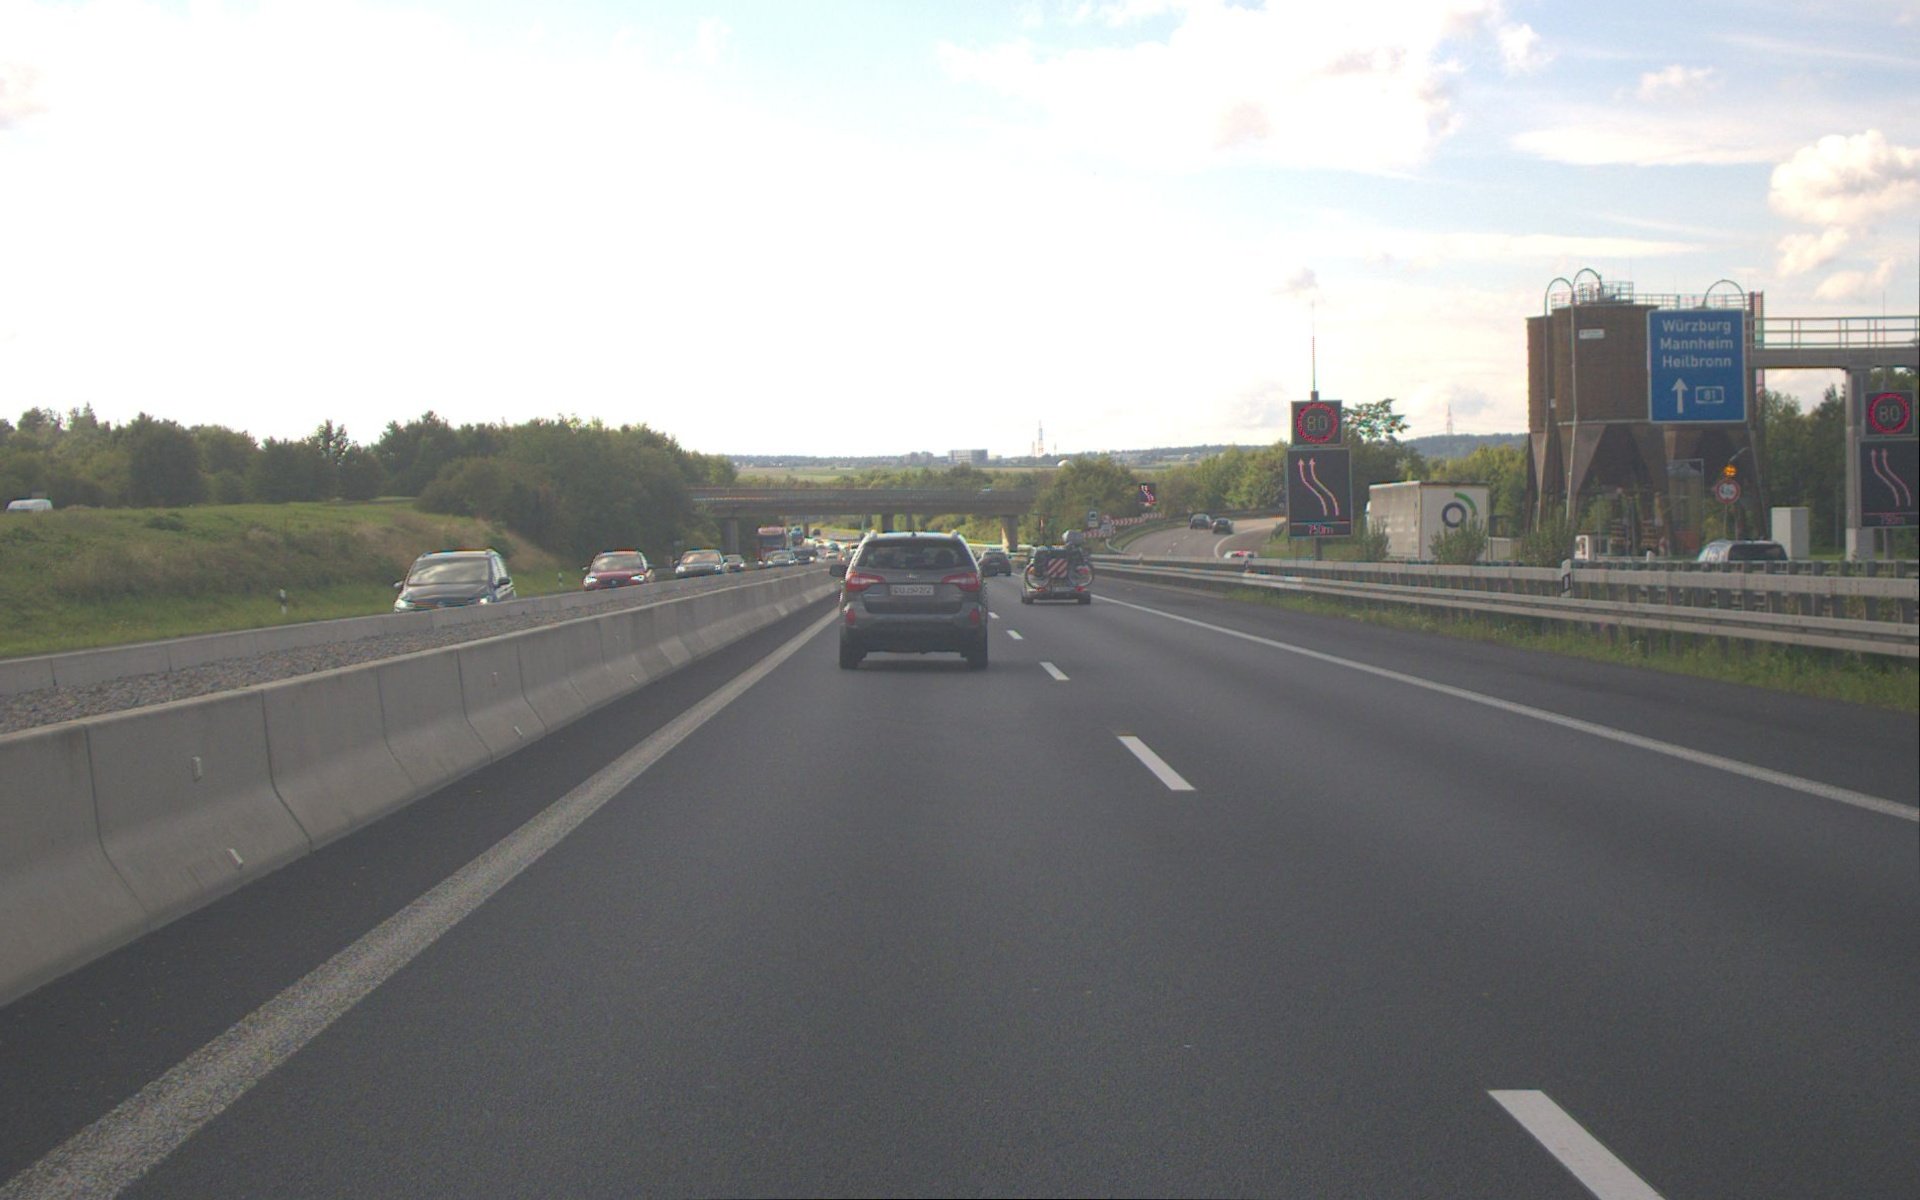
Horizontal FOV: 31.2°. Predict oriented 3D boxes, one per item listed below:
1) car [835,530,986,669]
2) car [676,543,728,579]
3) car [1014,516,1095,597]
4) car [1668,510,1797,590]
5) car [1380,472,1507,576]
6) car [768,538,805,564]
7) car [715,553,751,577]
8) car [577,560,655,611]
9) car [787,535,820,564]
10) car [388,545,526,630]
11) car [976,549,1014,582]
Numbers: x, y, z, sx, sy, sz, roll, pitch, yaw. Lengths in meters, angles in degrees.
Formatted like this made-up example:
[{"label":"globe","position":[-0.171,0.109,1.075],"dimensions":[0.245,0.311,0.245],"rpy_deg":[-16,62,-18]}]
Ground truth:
[{"label":"car","position":[-0.584,-0.032,43.460],"dimensions":[1.750,1.624,3.609],"rpy_deg":[-2,1,1]},{"label":"car","position":[-10.527,-1.594,140.371],"dimensions":[1.787,1.393,4.623],"rpy_deg":[-2,1,-1]},{"label":"car","position":[2.532,-1.179,92.939],"dimensions":[1.993,2.073,4.000],"rpy_deg":[-2,1,0]},{"label":"car","position":[17.696,-1.139,78.937],"dimensions":[1.993,1.711,4.000],"rpy_deg":[-2,1,0]},{"label":"car","position":[18.142,-2.836,129.482],"dimensions":[3.576,3.664,7.549],"rpy_deg":[-2,1,0]},{"label":"car","position":[-11.166,-3.145,221.739],"dimensions":[1.993,1.567,5.365],"rpy_deg":[-2,1,0]},{"label":"car","position":[-15.080,-2.332,228.705],"dimensions":[1.993,1.473,4.692],"rpy_deg":[-2,1,0]},{"label":"car","position":[-9.933,-0.438,99.650],"dimensions":[1.787,1.393,4.800],"rpy_deg":[-2,1,-1]},{"label":"car","position":[-11.230,-3.603,247.116],"dimensions":[1.993,2.007,5.841],"rpy_deg":[-2,1,0]},{"label":"car","position":[-8.986,-0.250,61.788],"dimensions":[1.787,1.393,4.725],"rpy_deg":[-2,1,-1]},{"label":"car","position":[1.974,-1.969,194.249],"dimensions":[1.975,1.773,4.120],"rpy_deg":[-2,1,-1]}]
